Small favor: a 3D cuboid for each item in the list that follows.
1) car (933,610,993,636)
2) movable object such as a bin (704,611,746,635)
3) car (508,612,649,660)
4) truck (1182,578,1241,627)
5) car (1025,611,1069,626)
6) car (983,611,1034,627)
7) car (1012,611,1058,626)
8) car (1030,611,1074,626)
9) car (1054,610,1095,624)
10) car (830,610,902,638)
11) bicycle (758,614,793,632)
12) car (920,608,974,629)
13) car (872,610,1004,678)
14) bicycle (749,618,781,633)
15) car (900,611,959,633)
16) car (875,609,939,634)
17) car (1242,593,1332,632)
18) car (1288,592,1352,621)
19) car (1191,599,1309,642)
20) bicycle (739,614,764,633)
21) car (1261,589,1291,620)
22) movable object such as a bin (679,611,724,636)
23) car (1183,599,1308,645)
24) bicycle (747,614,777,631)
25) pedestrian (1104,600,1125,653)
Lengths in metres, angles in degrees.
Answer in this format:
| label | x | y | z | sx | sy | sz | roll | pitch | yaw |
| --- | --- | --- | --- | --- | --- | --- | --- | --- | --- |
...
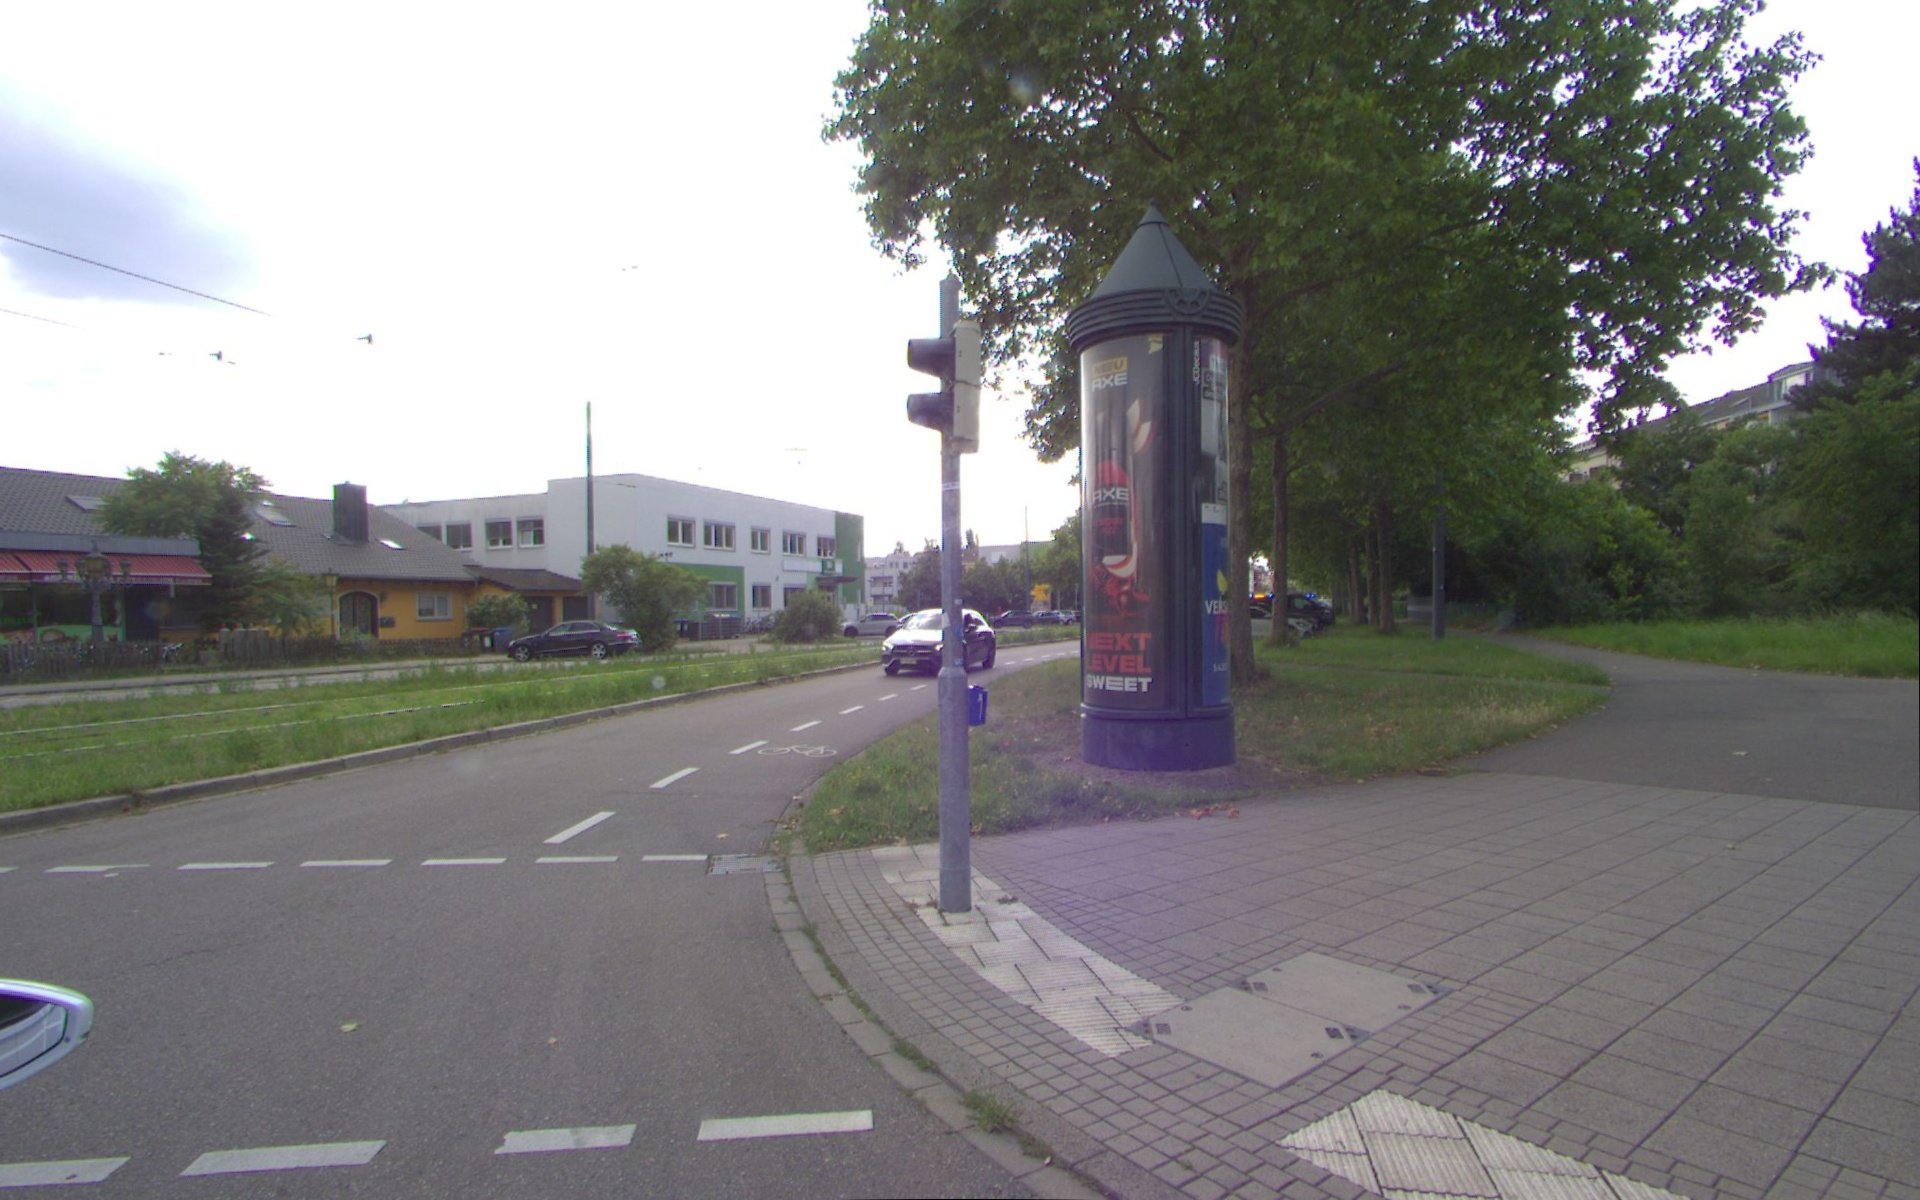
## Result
| label | x | y | z | sx | sy | sz | roll | pitch | yaw |
| --- | --- | --- | --- | --- | --- | --- | --- | --- | --- |
| car | 0.233 | 1.481 | 65.350 | 1.876 | 1.650 | 4.289 | 0 | 0 | 35 |
| movable object such as a bin | -13.576 | 1.348 | 57.940 | 1.354 | 1.344 | 2.124 | -1 | 0 | 25 |
| car | -14.212 | 1.317 | 37.484 | 4.490 | 1.601 | 2.000 | -2 | 0 | 1 |
| truck | 18.404 | 0.195 | 72.912 | 3.140 | 3.361 | 7.503 | -1 | 0 | 22 |
| car | 8.656 | 1.850 | 99.741 | 4.231 | 1.382 | 1.902 | -1 | 0 | -1 |
| car | 4.199 | 1.642 | 86.904 | 4.231 | 1.382 | 1.902 | -1 | 0 | -3 |
| car | 7.256 | 1.796 | 96.731 | 4.231 | 1.382 | 1.902 | -1 | 0 | -1 |
| car | 9.373 | 1.887 | 102.236 | 4.231 | 1.382 | 1.902 | -1 | 0 | -1 |
| car | 12.607 | 1.876 | 110.122 | 4.231 | 1.382 | 1.902 | -1 | 0 | -1 |
| car | -5.858 | 1.464 | 62.253 | 4.235 | 1.651 | 1.900 | -1 | 0 | -12 |
| bicycle | -12.454 | 1.545 | 67.464 | 2.315 | 1.181 | 0.757 | -1 | 0 | 27 |
| car | -1.006 | 1.417 | 76.693 | 4.089 | 1.523 | 1.861 | 0 | 0 | -1 |
| car | -0.383 | 0.960 | 23.600 | 1.807 | 1.411 | 4.600 | 0 | 0 | 16 |
| bicycle | -12.991 | 1.727 | 66.702 | 2.124 | 0.983 | 0.728 | -1 | 0 | 26 |
| car | -2.170 | 1.536 | 70.633 | 4.090 | 1.523 | 1.860 | 0 | 0 | -6 |
| car | -3.632 | 1.460 | 67.886 | 4.232 | 1.650 | 1.901 | 0 | 0 | -7 |
| car | 17.743 | 0.692 | 54.340 | 4.480 | 2.040 | 1.995 | -1 | -1 | 22 |
| car | 45.247 | 0.808 | 125.951 | 7.323 | 3.374 | 2.971 | 1 | 0 | 16 |
| car | 11.774 | 0.849 | 40.601 | 4.463 | 1.665 | 1.997 | -1 | -1 | 19 |
| bicycle | -13.606 | 1.532 | 65.298 | 1.601 | 1.181 | 0.701 | -1 | 0 | 38 |
| car | 36.296 | 0.535 | 114.894 | 2.922 | 3.374 | 7.445 | 1 | 0 | 20 |
| movable object such as a bin | -14.421 | 1.323 | 55.926 | 1.354 | 1.344 | 2.110 | -1 | 0 | 25 |
| car | 10.905 | 0.874 | 38.172 | 4.463 | 1.665 | 1.997 | -1 | -1 | 19 |
| bicycle | -12.614 | 1.447 | 63.858 | 1.766 | 1.096 | 0.735 | -1 | 0 | 19 |
| pedestrian | 4.952 | 0.842 | 32.045 | 0.577 | 1.706 | 0.493 | 0 | 0 | 20 |
